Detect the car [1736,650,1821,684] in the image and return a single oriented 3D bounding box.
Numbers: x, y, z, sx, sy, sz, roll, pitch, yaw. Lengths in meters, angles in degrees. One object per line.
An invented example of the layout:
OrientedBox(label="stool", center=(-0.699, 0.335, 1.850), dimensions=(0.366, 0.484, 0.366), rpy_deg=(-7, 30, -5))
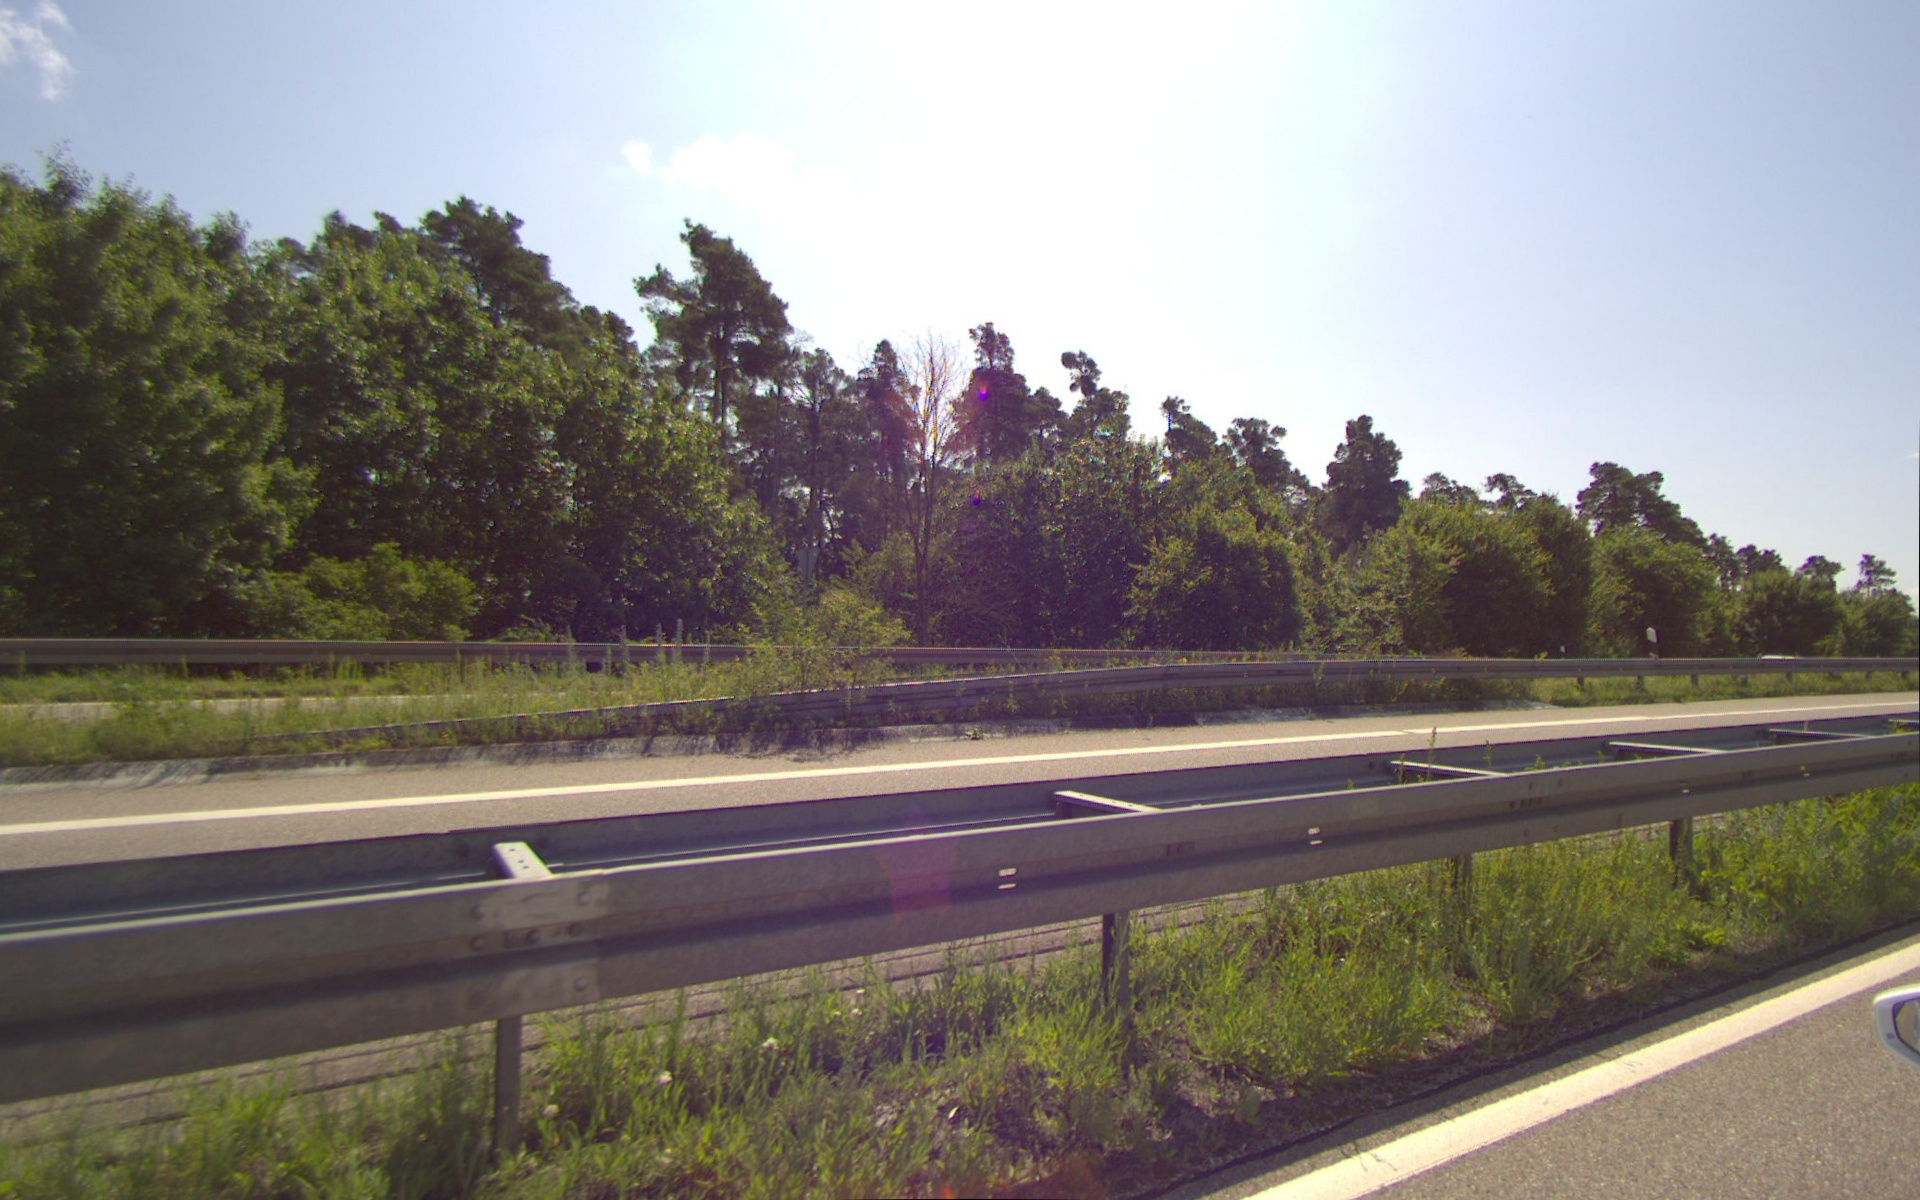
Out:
OrientedBox(label="car", center=(37.860, 3.065, 46.426), dimensions=(4.788, 1.432, 1.934), rpy_deg=(2, -2, -37))
